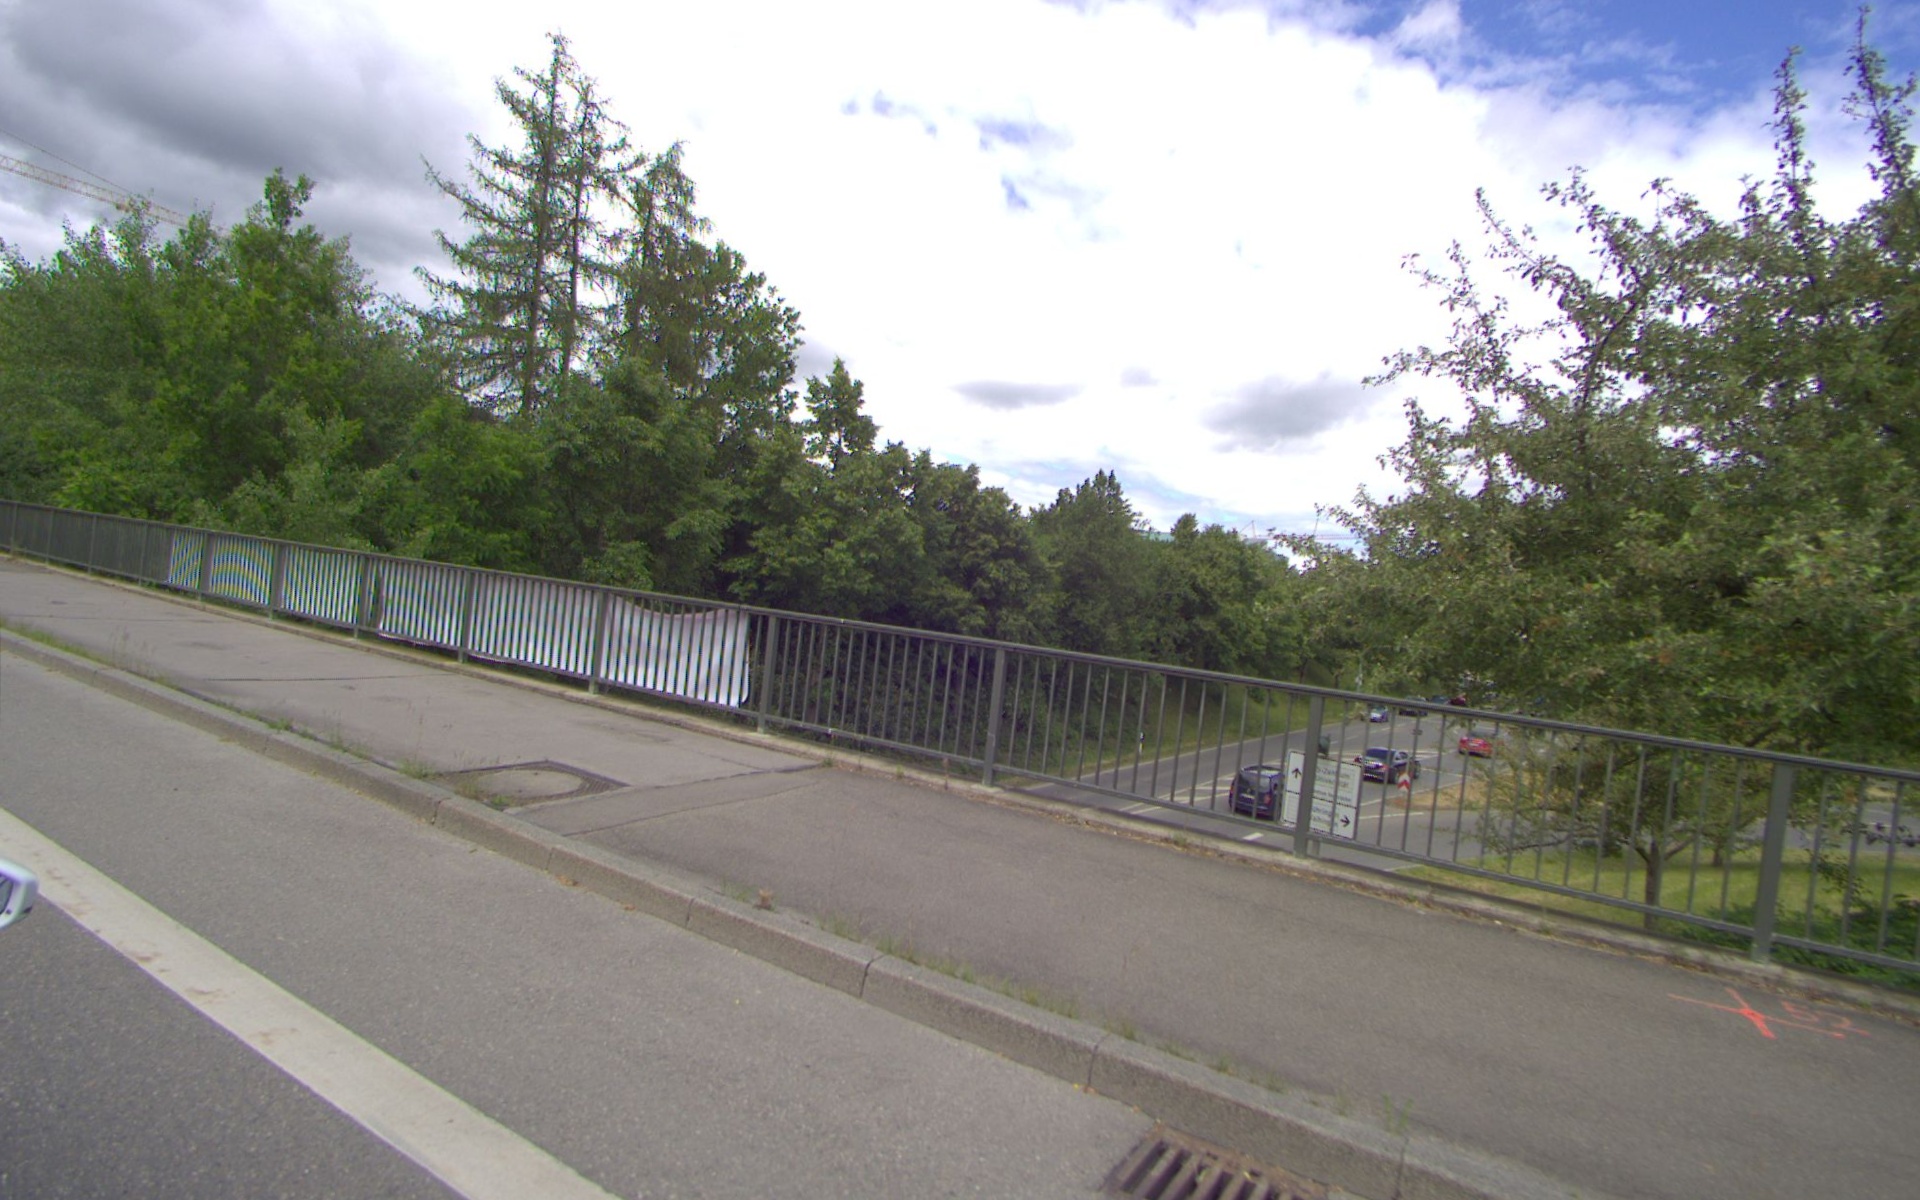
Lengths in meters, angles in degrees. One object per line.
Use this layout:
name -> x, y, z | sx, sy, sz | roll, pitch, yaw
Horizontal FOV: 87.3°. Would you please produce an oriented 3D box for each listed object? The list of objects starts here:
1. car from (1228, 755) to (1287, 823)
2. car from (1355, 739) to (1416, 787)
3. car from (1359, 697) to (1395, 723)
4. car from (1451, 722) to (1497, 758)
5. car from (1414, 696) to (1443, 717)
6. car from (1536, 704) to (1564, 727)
car -> 10.984, 6.895, 37.021 | 1.650, 1.560, 3.853 | 9, 2, 20
car -> 19.728, 7.487, 46.548 | 1.655, 1.561, 3.841 | 8, 3, 36
car -> 31.731, 8.342, 76.462 | 1.655, 1.561, 3.842 | 8, 3, 34
car -> 30.446, 8.264, 59.581 | 1.655, 1.561, 3.840 | 8, 3, 36
car -> 44.566, 10.092, 95.631 | 1.655, 1.561, 4.057 | 8, 3, 34
car -> 53.256, 10.398, 90.824 | 1.655, 1.561, 3.840 | 8, 3, 36
